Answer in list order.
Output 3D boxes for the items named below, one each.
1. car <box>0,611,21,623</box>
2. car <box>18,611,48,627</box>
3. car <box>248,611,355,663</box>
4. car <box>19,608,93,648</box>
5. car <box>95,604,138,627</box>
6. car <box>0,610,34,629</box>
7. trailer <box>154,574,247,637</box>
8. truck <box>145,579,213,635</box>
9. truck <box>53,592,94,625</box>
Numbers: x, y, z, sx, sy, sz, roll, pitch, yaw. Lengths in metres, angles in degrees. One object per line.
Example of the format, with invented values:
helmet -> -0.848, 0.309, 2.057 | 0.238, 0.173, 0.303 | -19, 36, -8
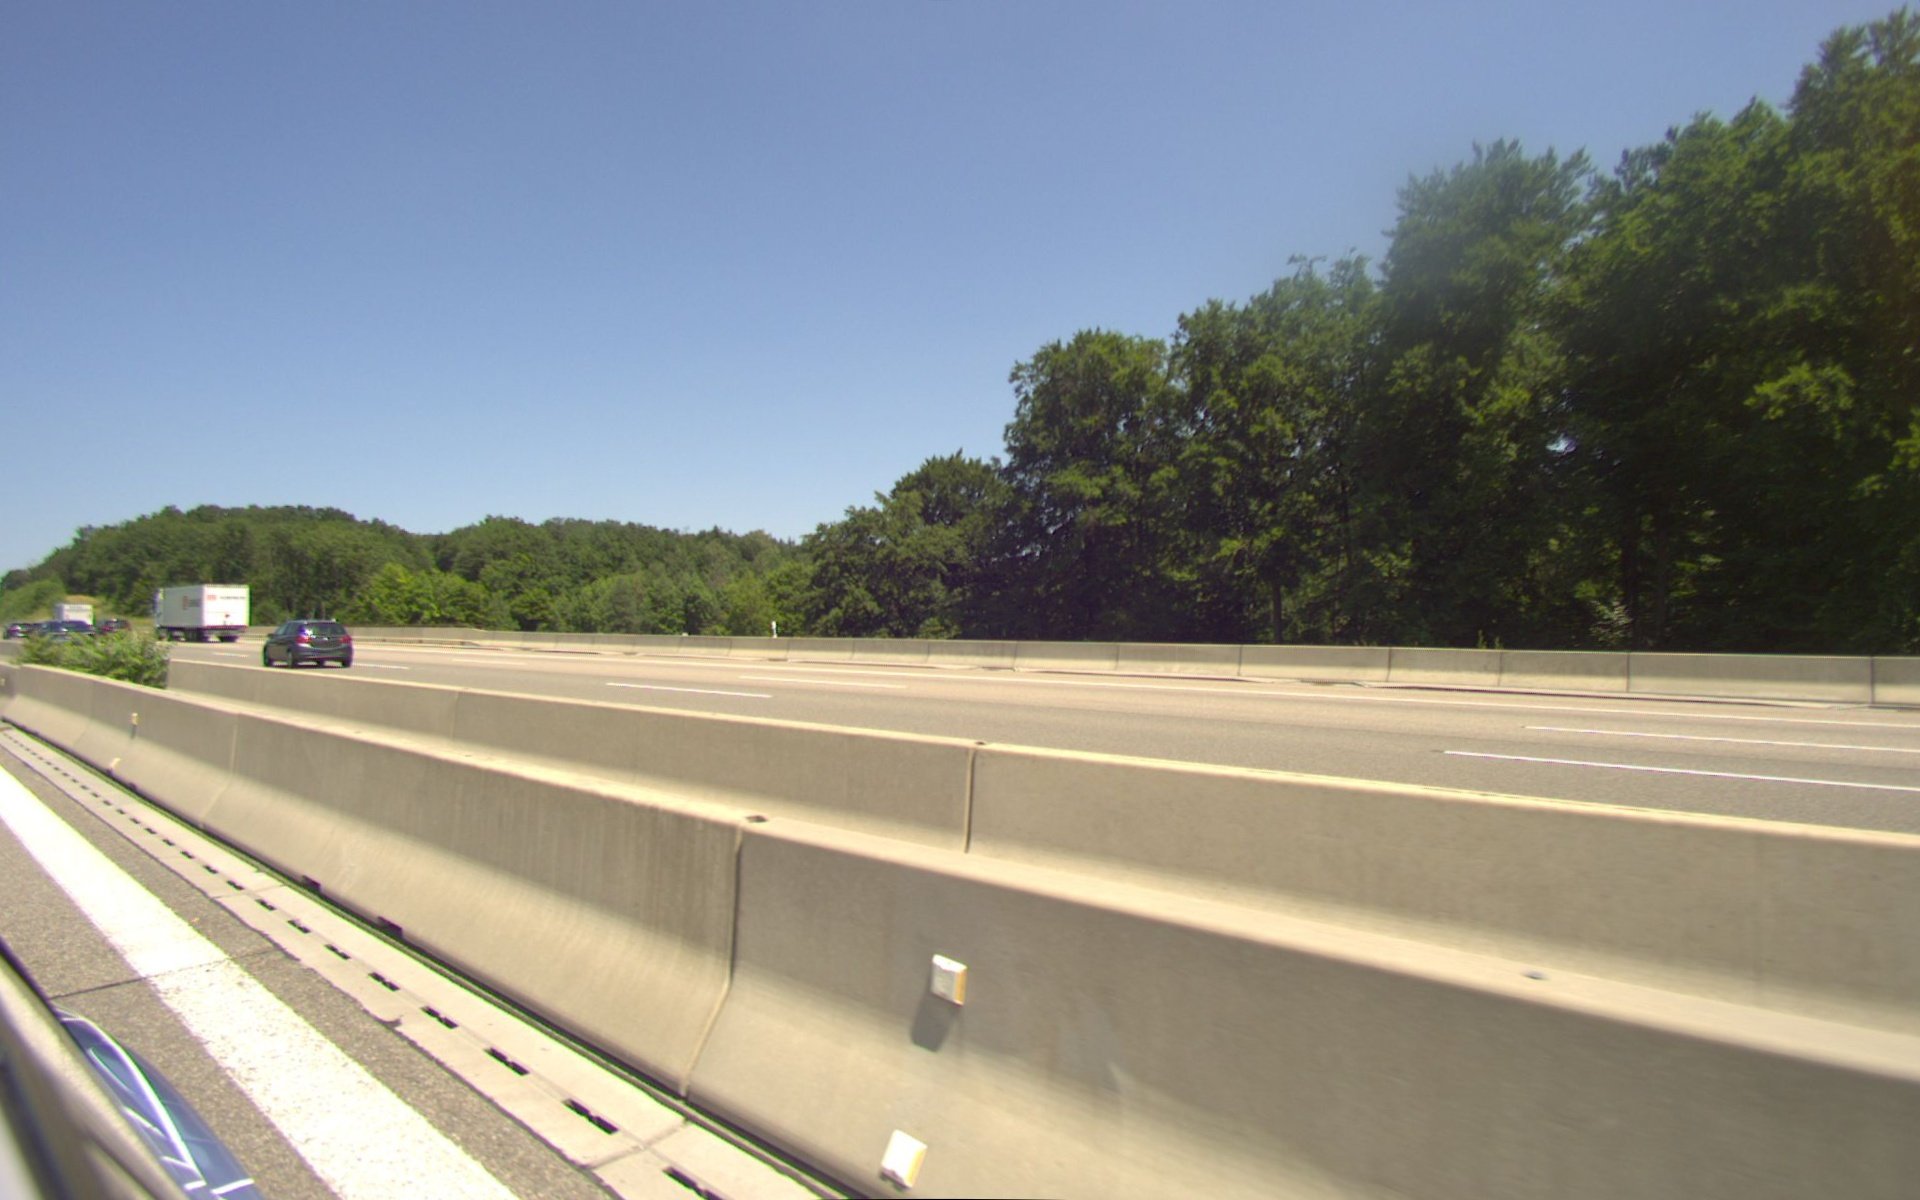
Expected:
car -> -114.729, 2.037, 122.032 | 4.530, 1.386, 1.779 | -1, -1, 42
car -> -94.033, 1.941, 102.690 | 4.396, 1.492, 1.779 | -2, -3, 42
car -> -20.918, 1.123, 32.080 | 4.480, 1.489, 1.748 | -1, 0, 42
car -> -38.029, 1.128, 42.551 | 4.784, 1.580, 1.812 | -1, 0, 42
car -> -62.536, 1.149, 75.004 | 5.078, 1.655, 1.779 | -1, -1, 42
car -> -80.498, 1.610, 86.284 | 4.719, 1.492, 1.779 | 0, 2, 42
trailer -> -55.290, 0.464, 73.451 | 14.357, 4.257, 2.614 | -1, -1, 42
truck -> -59.940, 0.575, 77.591 | 7.874, 4.131, 2.686 | -1, -1, 42
truck -> -102.387, 1.027, 116.835 | 8.573, 3.598, 2.513 | -1, -1, 41
